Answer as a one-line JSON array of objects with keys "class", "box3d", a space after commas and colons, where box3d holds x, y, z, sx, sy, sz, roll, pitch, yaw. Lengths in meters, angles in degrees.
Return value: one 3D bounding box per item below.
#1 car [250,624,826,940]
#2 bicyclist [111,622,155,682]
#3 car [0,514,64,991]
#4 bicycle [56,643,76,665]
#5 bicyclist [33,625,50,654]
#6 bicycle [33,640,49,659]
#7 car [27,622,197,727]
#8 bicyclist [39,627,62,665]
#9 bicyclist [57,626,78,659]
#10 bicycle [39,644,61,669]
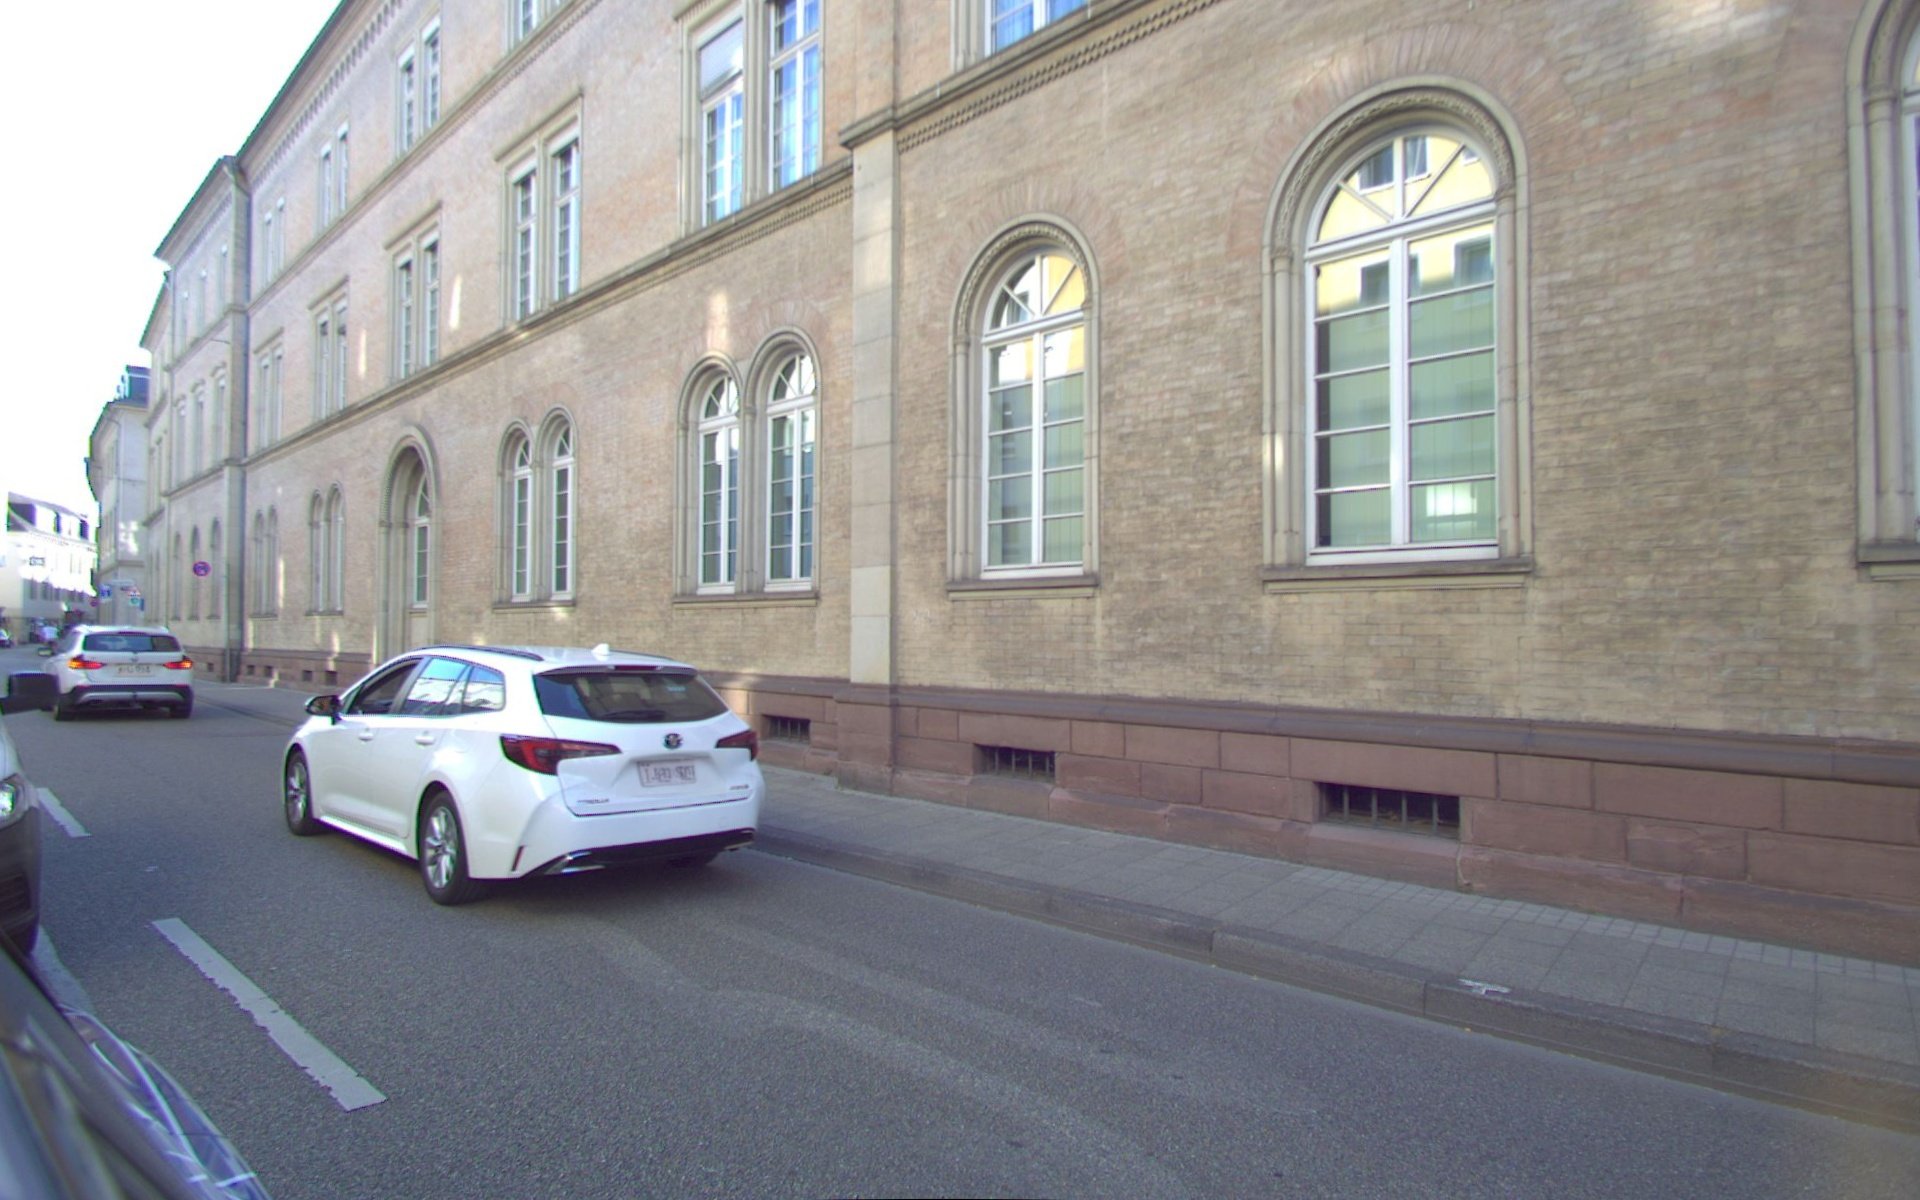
[{"class": "car", "box3d": [-3.146, 0.953, 7.025, 4.543, 1.487, 1.866, -1, -4, 42]}, {"class": "bicyclist", "box3d": [-21.099, 1.321, 25.830, 0.871, 1.487, 0.678, -2, -5, 43]}, {"class": "car", "box3d": [-6.215, 0.637, 5.150, 5.338, 1.850, 1.795, -2, -3, 41]}, {"class": "bicycle", "box3d": [-43.023, 2.599, 48.718, 0.642, 1.014, 1.878, 5, -5, -40]}, {"class": "bicyclist", "box3d": [-48.883, 2.103, 53.869, 0.538, 1.545, 0.870, 5, -5, -41]}, {"class": "bicycle", "box3d": [-48.834, 2.623, 53.777, 0.538, 1.014, 1.759, 5, -5, -41]}, {"class": "car", "box3d": [-14.702, 1.239, 17.473, 4.274, 1.595, 1.667, -2, -5, 43]}, {"class": "bicyclist", "box3d": [-38.519, 1.933, 42.861, 0.642, 1.579, 0.962, 5, -5, -42]}, {"class": "bicyclist", "box3d": [-43.057, 2.057, 48.814, 0.642, 1.520, 1.113, 5, -5, -40]}, {"class": "bicycle", "box3d": [-38.529, 2.401, 42.843, 0.642, 1.014, 1.808, 5, -5, -42]}]
